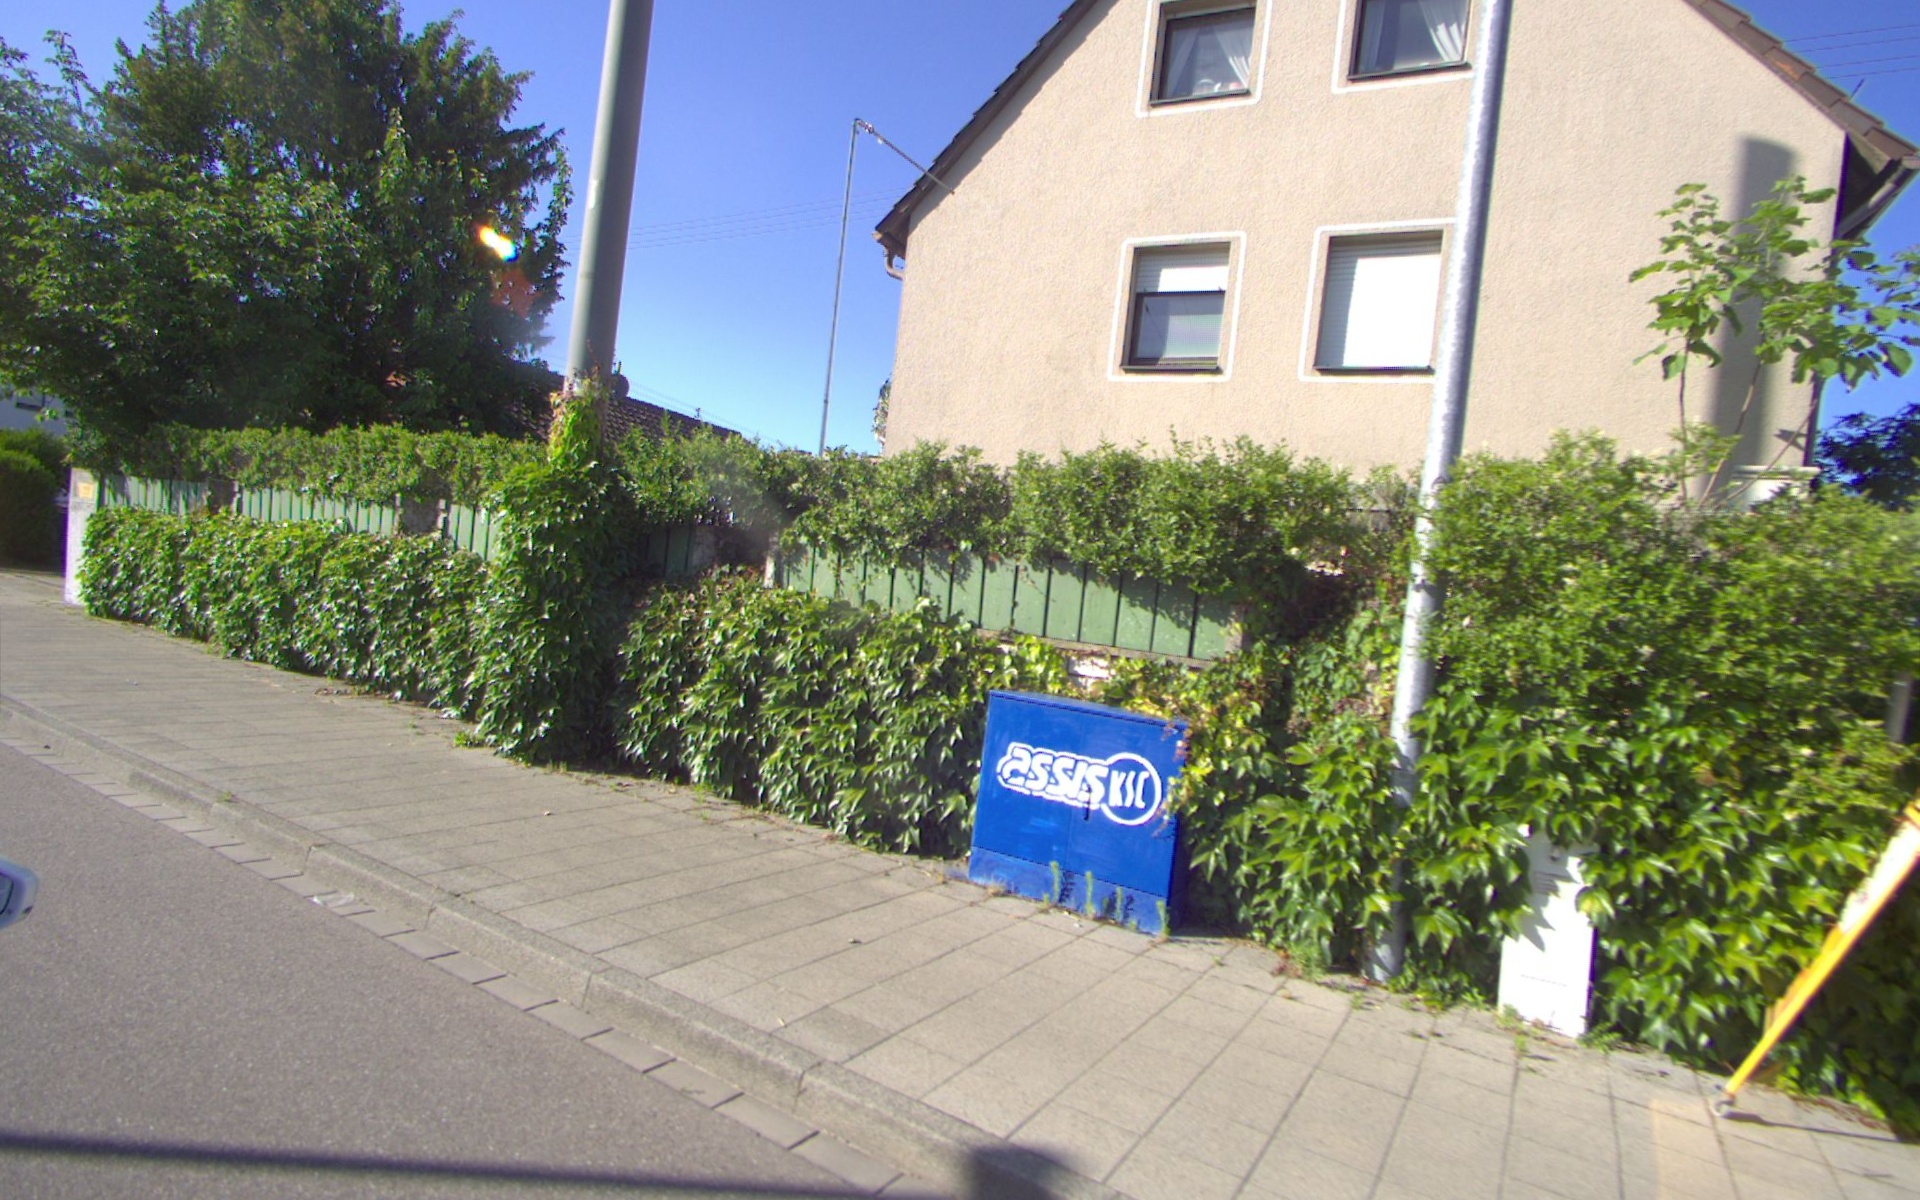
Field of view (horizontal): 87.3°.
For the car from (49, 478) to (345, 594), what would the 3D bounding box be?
[{"bbox_3d":[-13.360,-1.057,17.877,1.720,1.590,3.769,6,1,22],"label":"car"}]
